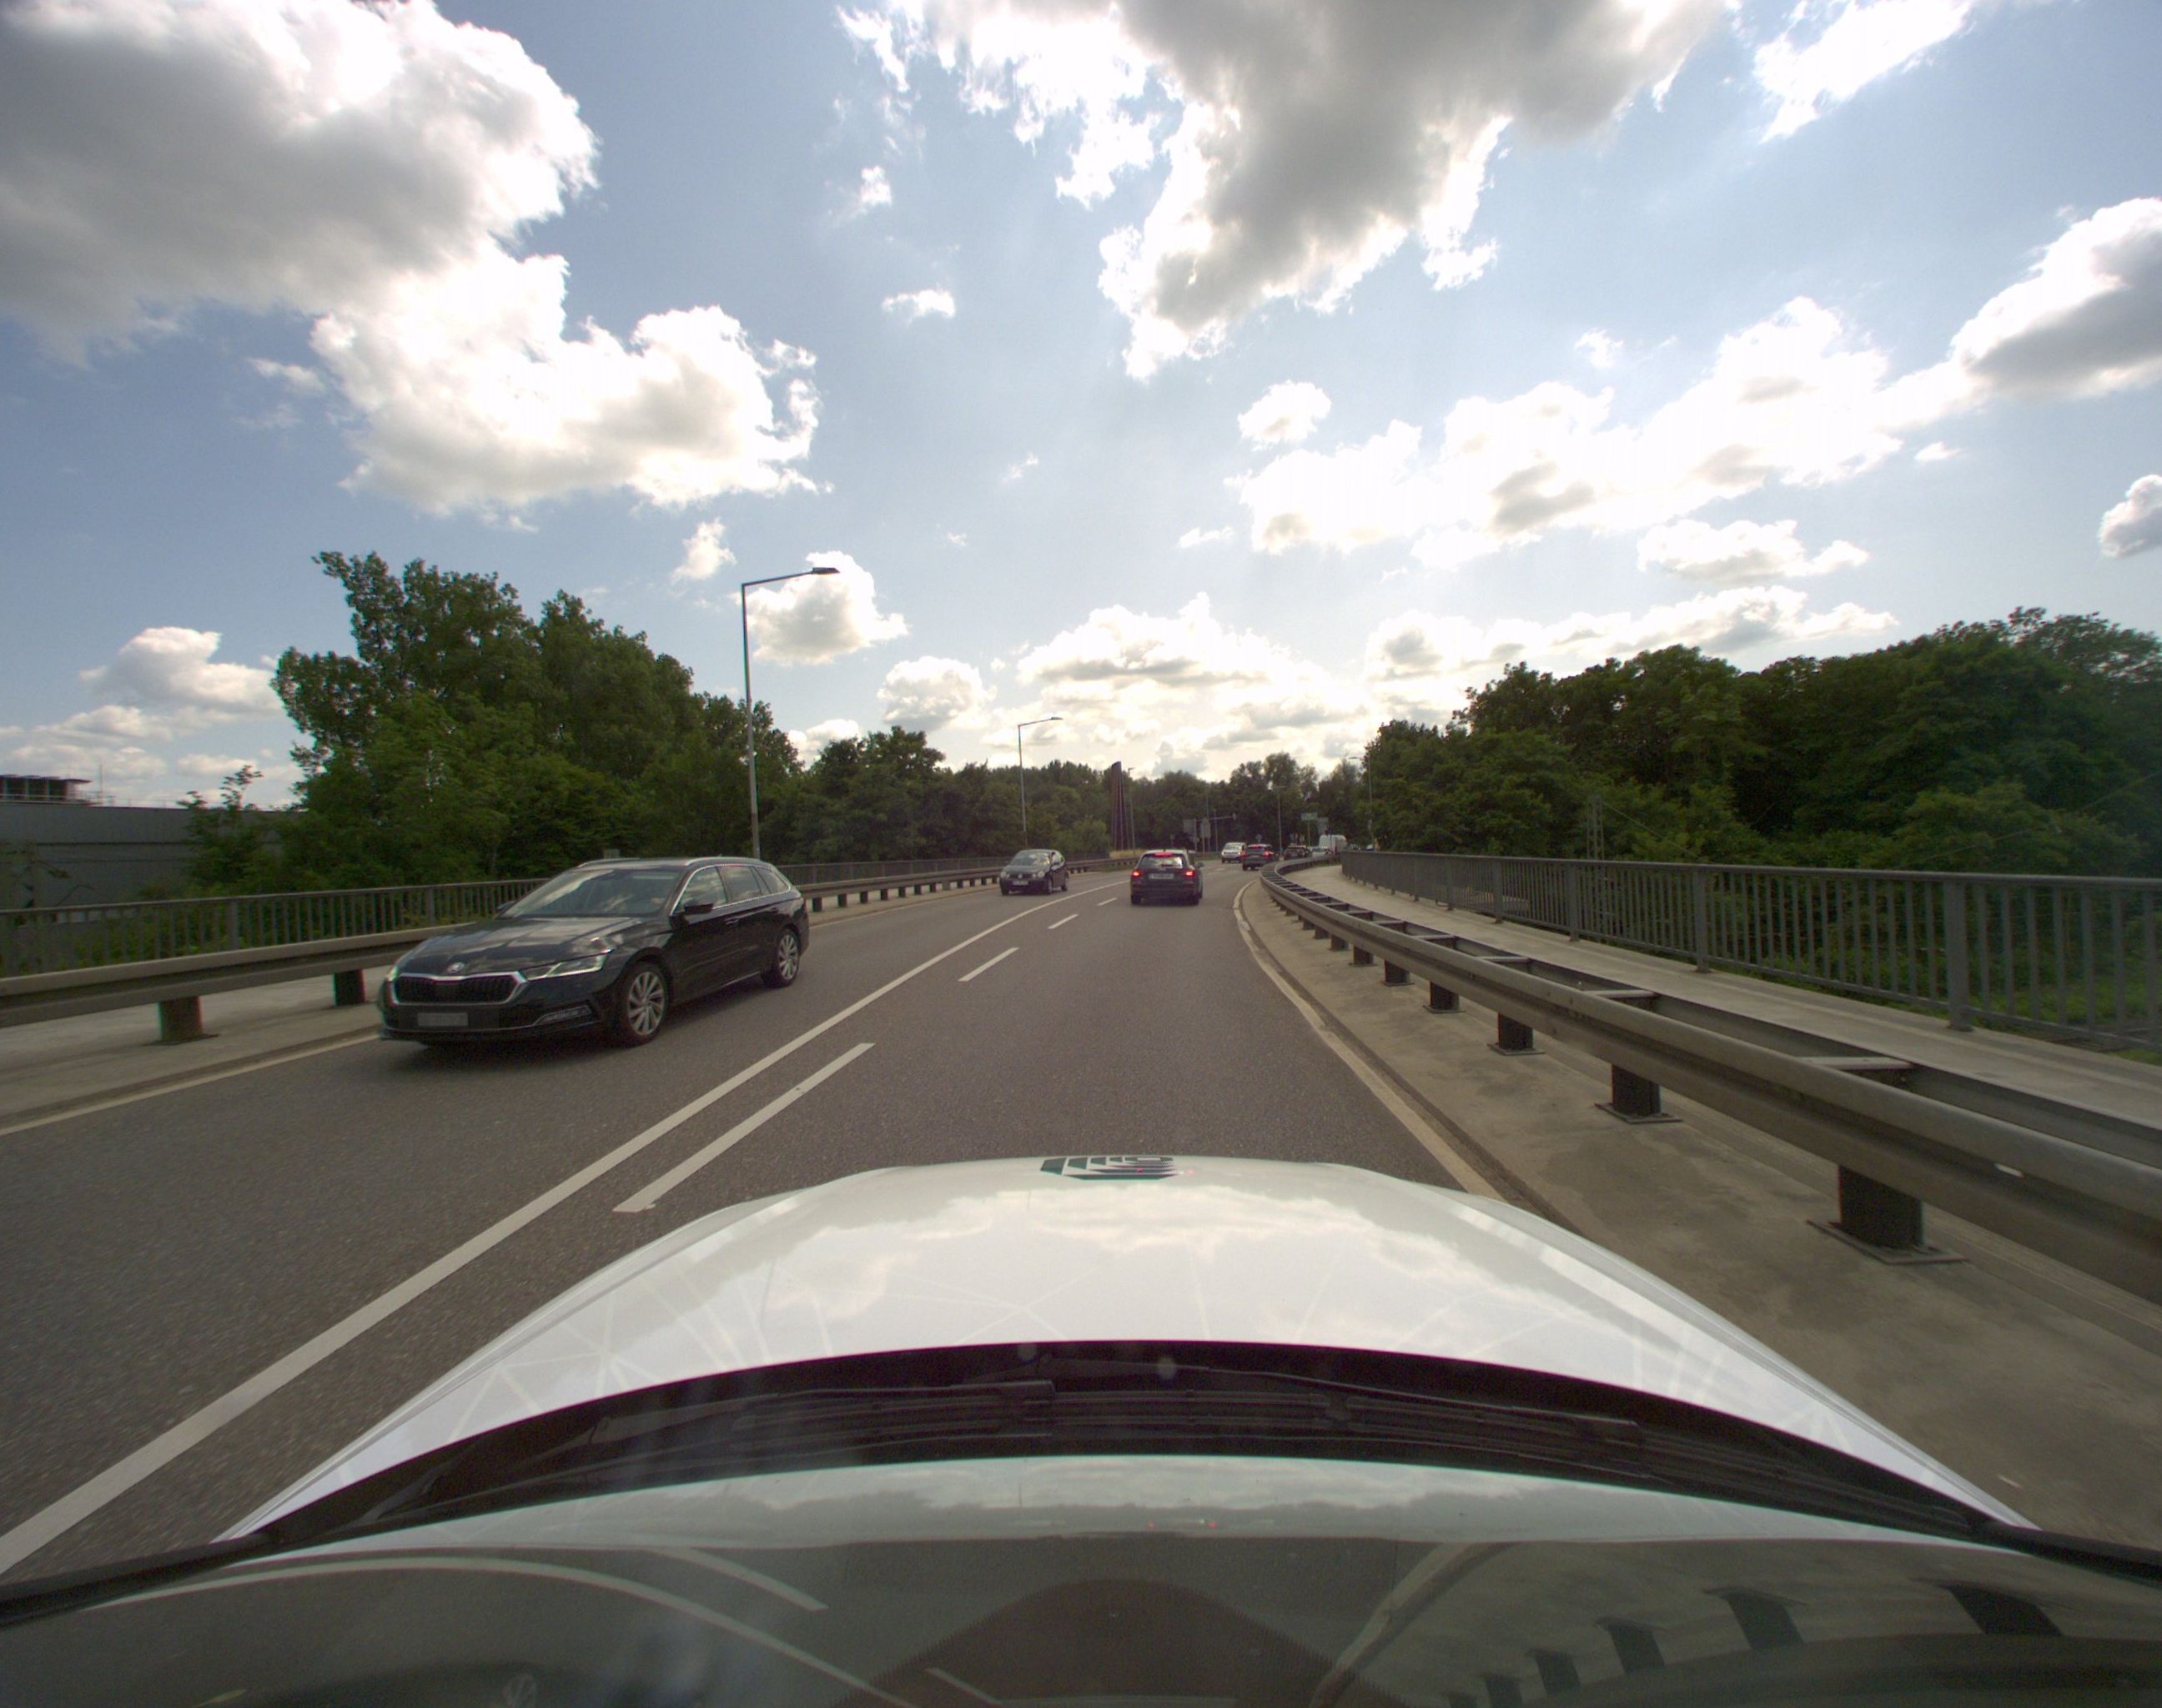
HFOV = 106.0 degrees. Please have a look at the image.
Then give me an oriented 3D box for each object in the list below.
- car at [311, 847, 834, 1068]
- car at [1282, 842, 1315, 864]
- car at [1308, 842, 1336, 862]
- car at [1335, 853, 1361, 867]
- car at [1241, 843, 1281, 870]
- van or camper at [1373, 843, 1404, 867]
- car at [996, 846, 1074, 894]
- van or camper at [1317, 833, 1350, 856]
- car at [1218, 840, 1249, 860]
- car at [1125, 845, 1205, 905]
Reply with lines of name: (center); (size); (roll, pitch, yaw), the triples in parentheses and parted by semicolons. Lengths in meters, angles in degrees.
car: (-4.212, 0.691, 7.935); (1.809, 1.451, 4.743); (-1, 1, 4)
car: (17.360, -0.115, 64.836); (1.717, 1.651, 3.879); (0, 1, 28)
car: (21.627, -0.193, 72.969); (1.717, 1.651, 3.879); (-1, 0, 26)
car: (26.878, 0.582, 81.852); (1.667, 1.398, 3.702); (-1, 0, 30)
car: (11.644, 0.129, 52.611); (1.805, 1.651, 3.877); (0, 1, 23)
van or camper: (35.032, 0.041, 92.708); (1.975, 2.590, 4.115); (1, 2, 43)
car: (-1.457, 0.476, 27.350); (1.804, 1.452, 3.936); (0, 1, 9)
van or camper: (27.406, -1.099, 88.226); (2.251, 2.340, 5.274); (1, 2, 31)
car: (13.784, -0.341, 73.471); (1.797, 1.754, 4.329); (0, 1, 23)
car: (2.429, 0.517, 22.575); (1.816, 1.491, 4.220); (0, 0, 11)
